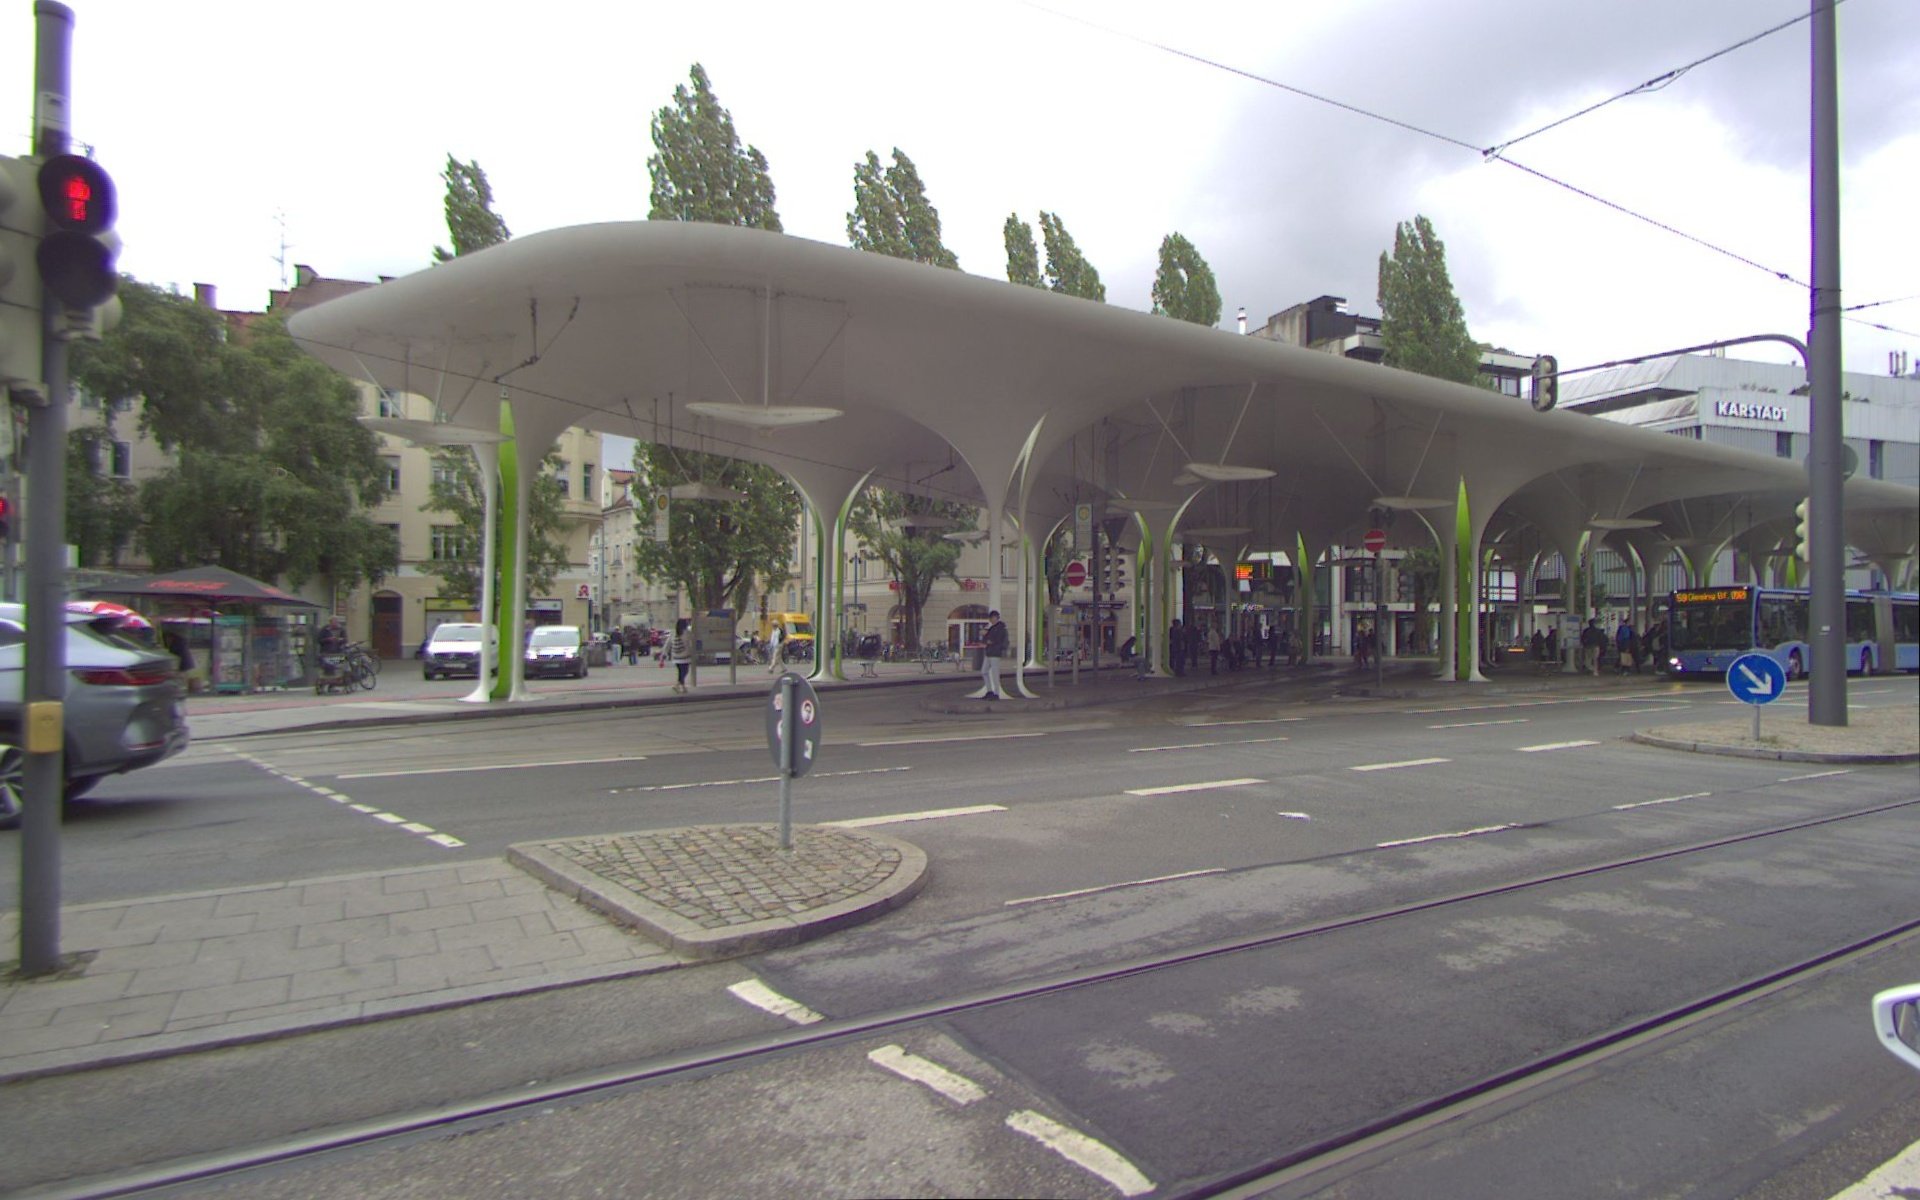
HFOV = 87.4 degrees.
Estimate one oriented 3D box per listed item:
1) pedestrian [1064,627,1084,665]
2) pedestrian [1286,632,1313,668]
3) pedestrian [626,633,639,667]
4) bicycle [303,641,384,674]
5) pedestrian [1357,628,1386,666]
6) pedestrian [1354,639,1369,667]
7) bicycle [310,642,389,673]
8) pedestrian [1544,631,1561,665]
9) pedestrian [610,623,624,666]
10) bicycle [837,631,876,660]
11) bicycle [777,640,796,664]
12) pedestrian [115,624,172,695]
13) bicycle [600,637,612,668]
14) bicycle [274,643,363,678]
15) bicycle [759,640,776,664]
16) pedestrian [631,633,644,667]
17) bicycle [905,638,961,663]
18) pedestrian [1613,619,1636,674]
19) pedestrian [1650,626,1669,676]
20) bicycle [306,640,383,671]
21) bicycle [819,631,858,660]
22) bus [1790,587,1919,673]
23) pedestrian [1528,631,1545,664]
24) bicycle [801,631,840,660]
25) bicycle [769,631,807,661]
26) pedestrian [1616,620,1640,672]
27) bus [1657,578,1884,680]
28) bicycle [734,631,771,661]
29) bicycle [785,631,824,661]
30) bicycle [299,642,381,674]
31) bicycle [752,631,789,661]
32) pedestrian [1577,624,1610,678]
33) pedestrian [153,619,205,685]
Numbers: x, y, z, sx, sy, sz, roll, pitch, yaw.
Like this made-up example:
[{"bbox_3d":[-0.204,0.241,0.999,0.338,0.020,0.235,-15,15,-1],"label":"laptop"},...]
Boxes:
[{"bbox_3d":[5.036,2.021,44.400,0.635,1.669,0.596,1,-2,-37],"label":"pedestrian"},{"bbox_3d":[14.625,2.140,43.302,0.888,1.528,0.738,1,-2,-37],"label":"pedestrian"},{"bbox_3d":[-16.034,2.456,49.207,0.452,1.647,0.577,1,1,-32],"label":"pedestrian"},{"bbox_3d":[-22.747,2.112,37.130,2.494,1.145,0.639,1,-1,-30],"label":"bicycle"},{"bbox_3d":[19.559,2.229,47.752,0.884,1.753,0.868,1,-1,-26],"label":"pedestrian"},{"bbox_3d":[18.170,2.396,45.431,0.563,1.282,0.520,0,-1,13],"label":"pedestrian"},{"bbox_3d":[-23.136,2.164,38.122,2.494,1.145,0.639,1,-2,-30],"label":"bicycle"},{"bbox_3d":[28.782,2.340,48.764,0.543,1.632,0.568,1,-1,-39],"label":"pedestrian"},{"bbox_3d":[-16.645,2.152,48.736,0.452,2.041,0.577,1,1,-32],"label":"pedestrian"},{"bbox_3d":[-6.179,2.682,59.895,0.989,1.634,3.597,1,-1,-29],"label":"bicycle"},{"bbox_3d":[-9.047,2.691,52.331,0.726,1.149,2.677,1,-1,-15],"label":"bicycle"},{"bbox_3d":[-19.077,1.375,23.485,0.784,1.621,0.738,1,-1,-15],"label":"pedestrian"},{"bbox_3d":[-17.449,2.591,49.528,0.292,1.416,1.131,1,1,-31],"label":"bicycle"},{"bbox_3d":[-21.767,2.044,34.163,2.494,1.145,0.639,1,-2,-30],"label":"bicycle"},{"bbox_3d":[-9.958,2.671,51.922,0.726,1.149,2.677,1,-1,-15],"label":"bicycle"},{"bbox_3d":[-16.076,2.469,50.069,0.452,1.647,0.577,1,1,-32],"label":"pedestrian"},{"bbox_3d":[-1.441,2.659,52.957,2.886,1.331,0.841,0,-1,-6],"label":"bicycle"},{"bbox_3d":[21.858,1.524,33.025,0.557,1.766,0.753,-1,-2,37],"label":"pedestrian"},{"bbox_3d":[22.982,1.672,32.994,0.387,1.626,0.390,1,-1,-35],"label":"pedestrian"},{"bbox_3d":[-23.824,2.136,38.956,2.494,1.145,0.639,1,-1,-30],"label":"bicycle"},{"bbox_3d":[-7.204,2.662,59.241,0.989,1.634,3.597,1,-1,-29],"label":"bicycle"},{"bbox_3d":[35.170,1.182,38.533,7.424,3.047,2.648,1,-3,-30],"label":"bus"},{"bbox_3d":[28.412,2.325,49.539,0.543,1.632,0.568,1,-1,-39],"label":"pedestrian"},{"bbox_3d":[-8.187,2.641,58.748,0.989,1.634,3.597,1,-1,-29],"label":"bicycle"},{"bbox_3d":[-9.912,2.606,57.800,0.989,1.634,3.597,1,-1,-29],"label":"bicycle"},{"bbox_3d":[22.974,1.569,34.528,0.566,1.756,0.501,1,-1,-34],"label":"pedestrian"},{"bbox_3d":[27.543,1.024,33.919,10.398,3.047,2.647,1,-3,-32],"label":"bus"},{"bbox_3d":[-11.778,2.567,56.814,0.989,1.634,3.597,1,-1,-29],"label":"bicycle"},{"bbox_3d":[-9.038,2.624,58.203,0.989,1.634,3.597,1,-1,-29],"label":"bicycle"},{"bbox_3d":[-22.427,2.086,36.395,2.494,1.145,0.639,1,-1,-30],"label":"bicycle"},{"bbox_3d":[-10.812,2.587,57.294,0.989,1.634,3.597,1,-1,-29],"label":"bicycle"},{"bbox_3d":[20.908,1.668,33.151,0.875,1.744,0.707,1,-2,-43],"label":"pedestrian"},{"bbox_3d":[-19.565,1.296,25.174,0.784,1.621,0.738,1,-1,-15],"label":"pedestrian"}]
